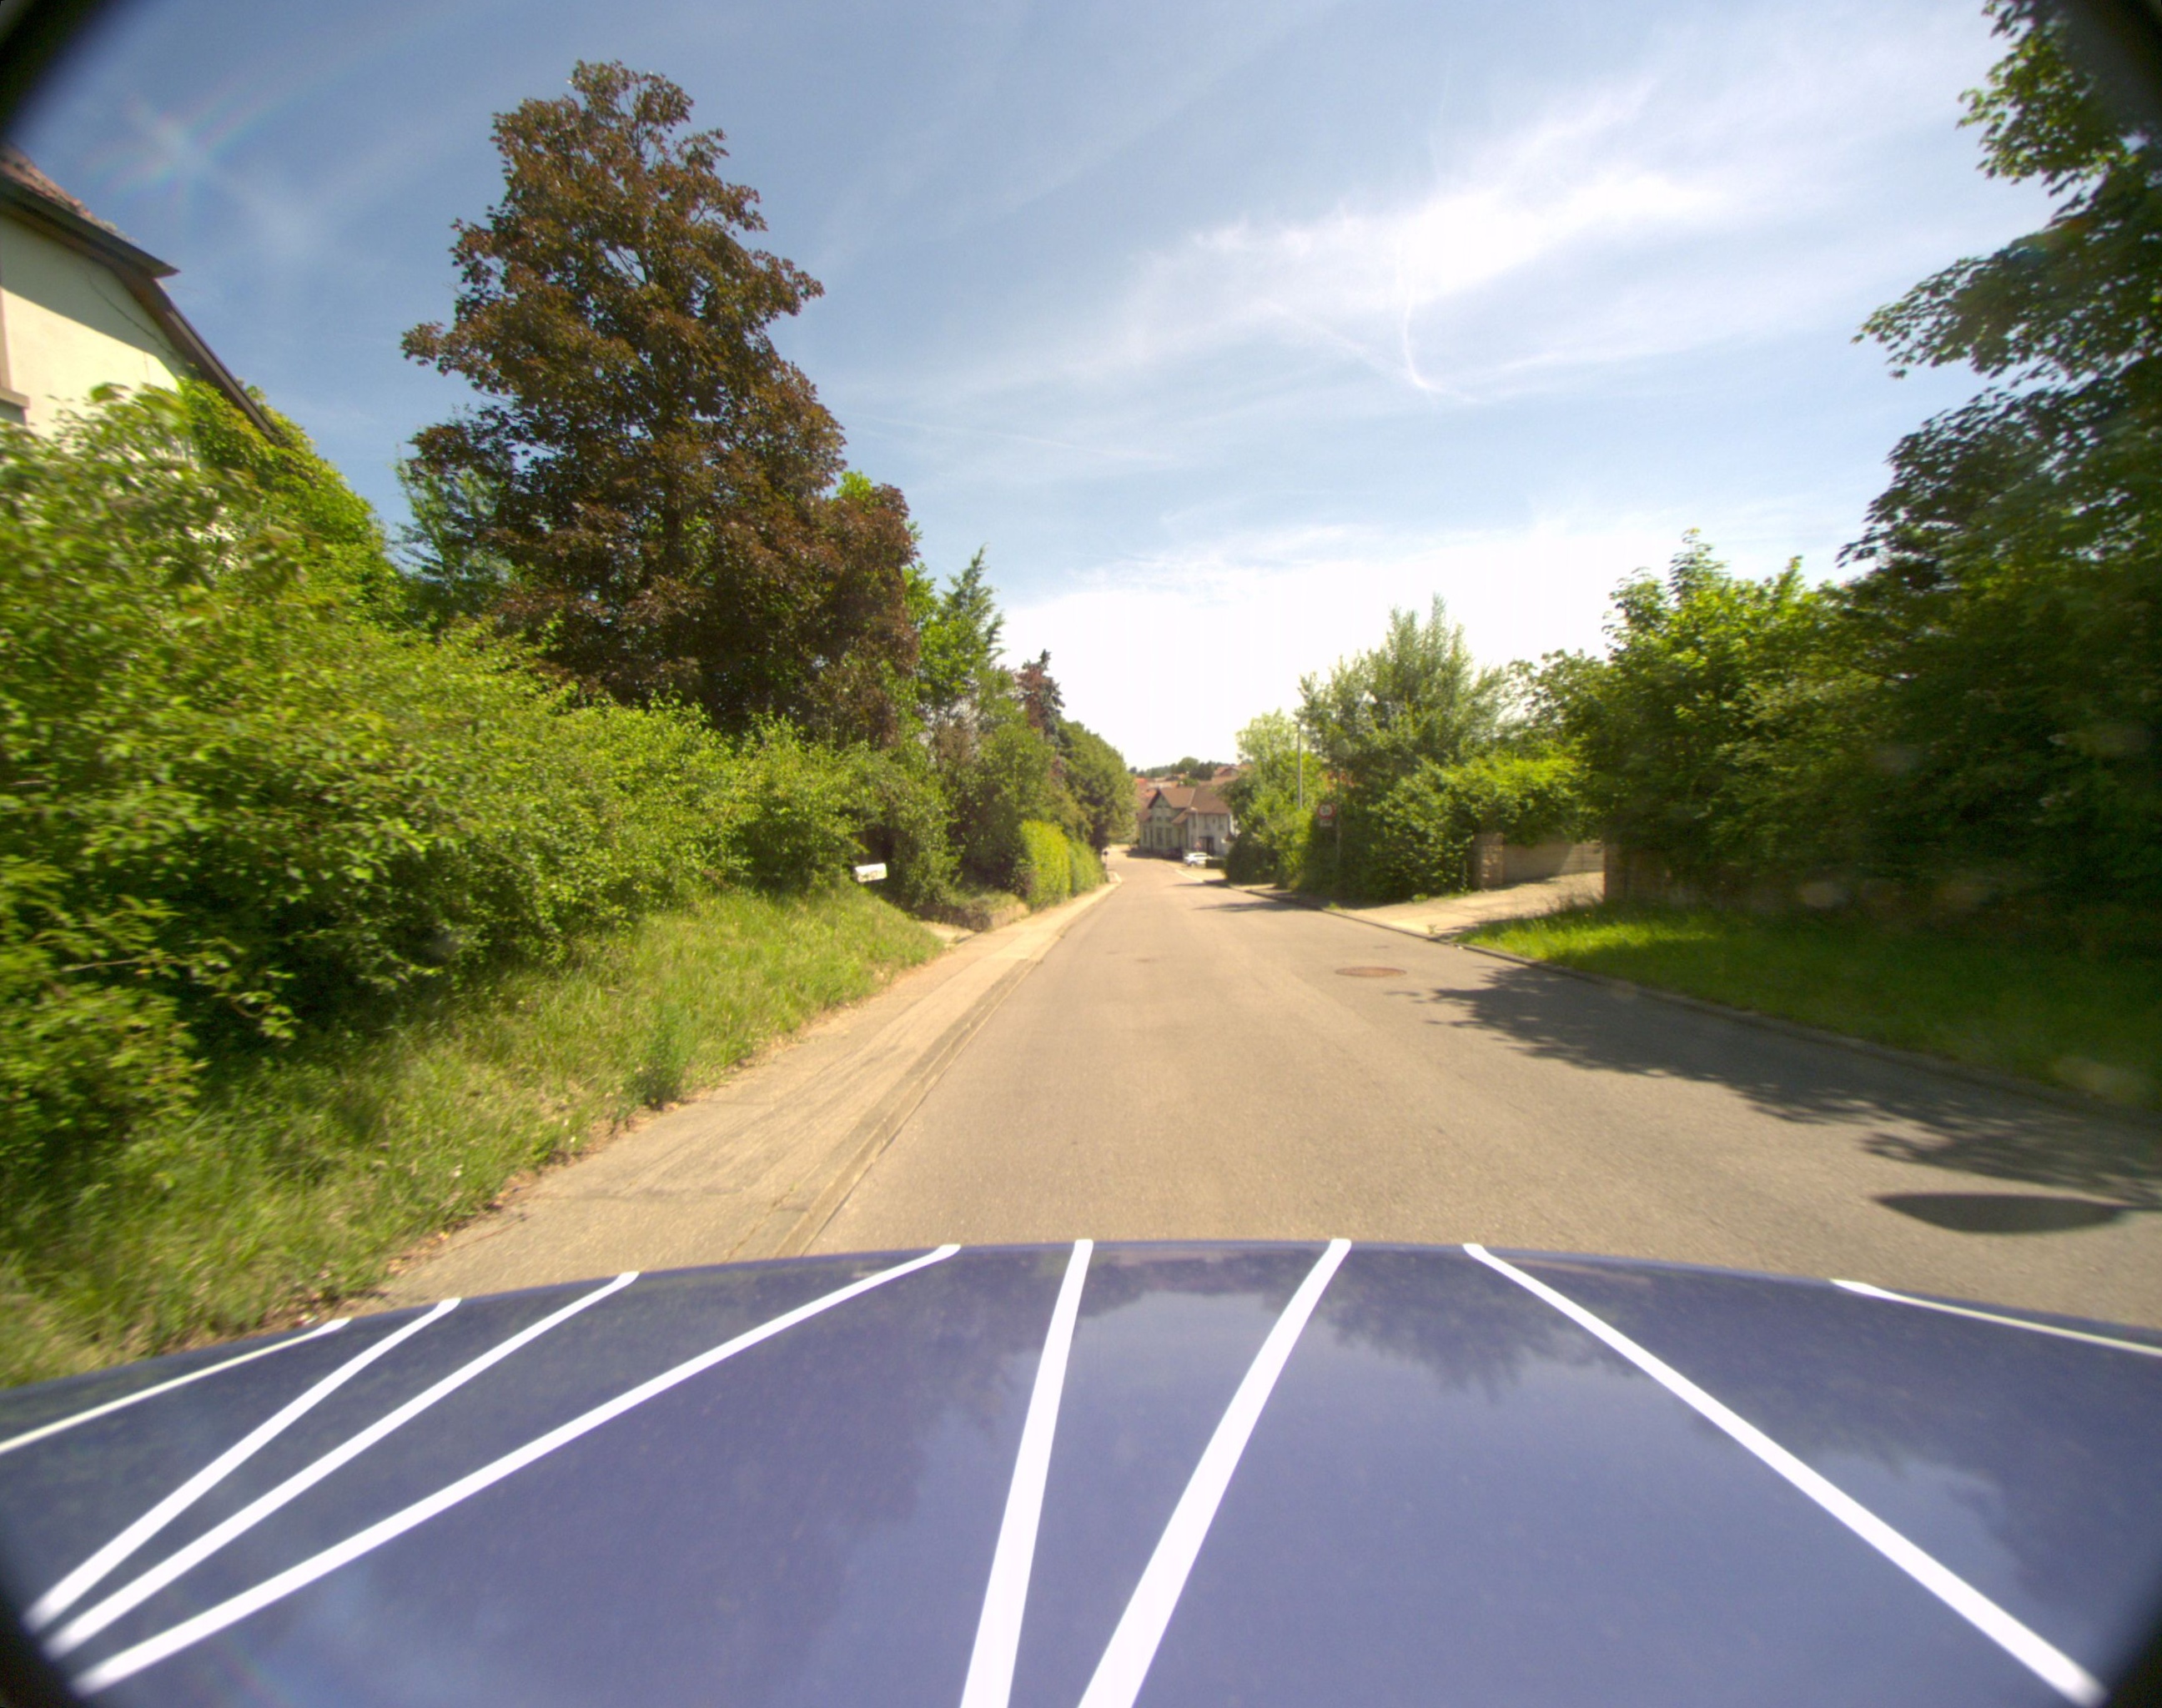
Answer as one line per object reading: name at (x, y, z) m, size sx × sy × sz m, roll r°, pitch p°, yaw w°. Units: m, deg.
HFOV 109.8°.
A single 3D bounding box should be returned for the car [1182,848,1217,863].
car at (13.536, 0.152, 86.860) m, size 3.582 × 1.377 × 1.514 m, roll -6°, pitch 2°, yaw -8°
